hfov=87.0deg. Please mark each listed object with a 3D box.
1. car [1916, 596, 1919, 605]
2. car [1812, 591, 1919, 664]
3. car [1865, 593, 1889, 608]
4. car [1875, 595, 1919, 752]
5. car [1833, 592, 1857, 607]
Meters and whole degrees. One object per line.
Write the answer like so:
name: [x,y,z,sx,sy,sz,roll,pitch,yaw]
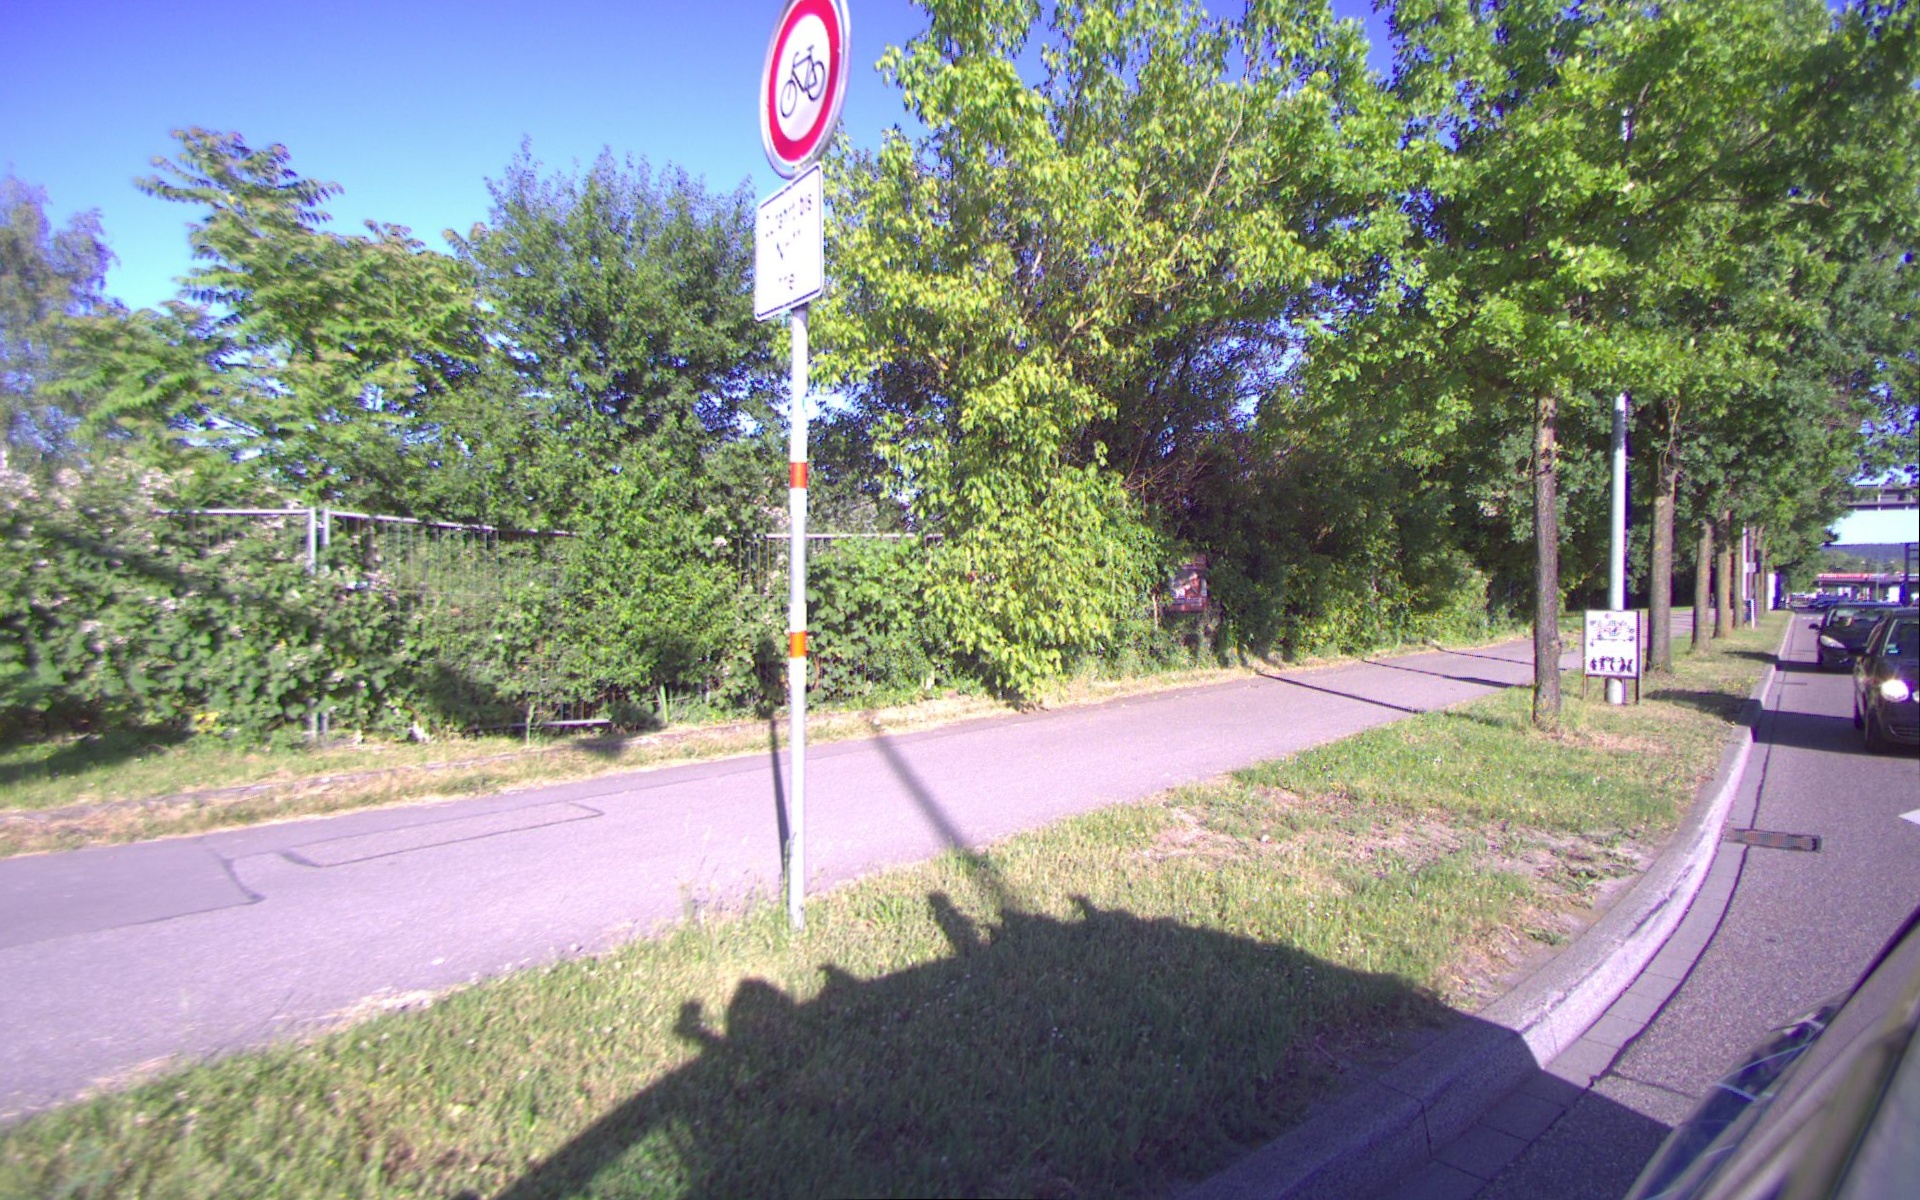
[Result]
car: [160.295,0.089,168.025,1.992,1.598,3.941,2,1,41]
car: [20.171,0.552,22.346,1.747,1.473,3.948,-1,0,36]
car: [110.323,0.073,121.778,1.994,1.709,3.936,2,1,44]
car: [11.002,0.701,10.921,1.632,1.486,4.477,1,0,42]
car: [107.373,-0.052,122.730,1.994,1.709,3.936,2,1,44]
